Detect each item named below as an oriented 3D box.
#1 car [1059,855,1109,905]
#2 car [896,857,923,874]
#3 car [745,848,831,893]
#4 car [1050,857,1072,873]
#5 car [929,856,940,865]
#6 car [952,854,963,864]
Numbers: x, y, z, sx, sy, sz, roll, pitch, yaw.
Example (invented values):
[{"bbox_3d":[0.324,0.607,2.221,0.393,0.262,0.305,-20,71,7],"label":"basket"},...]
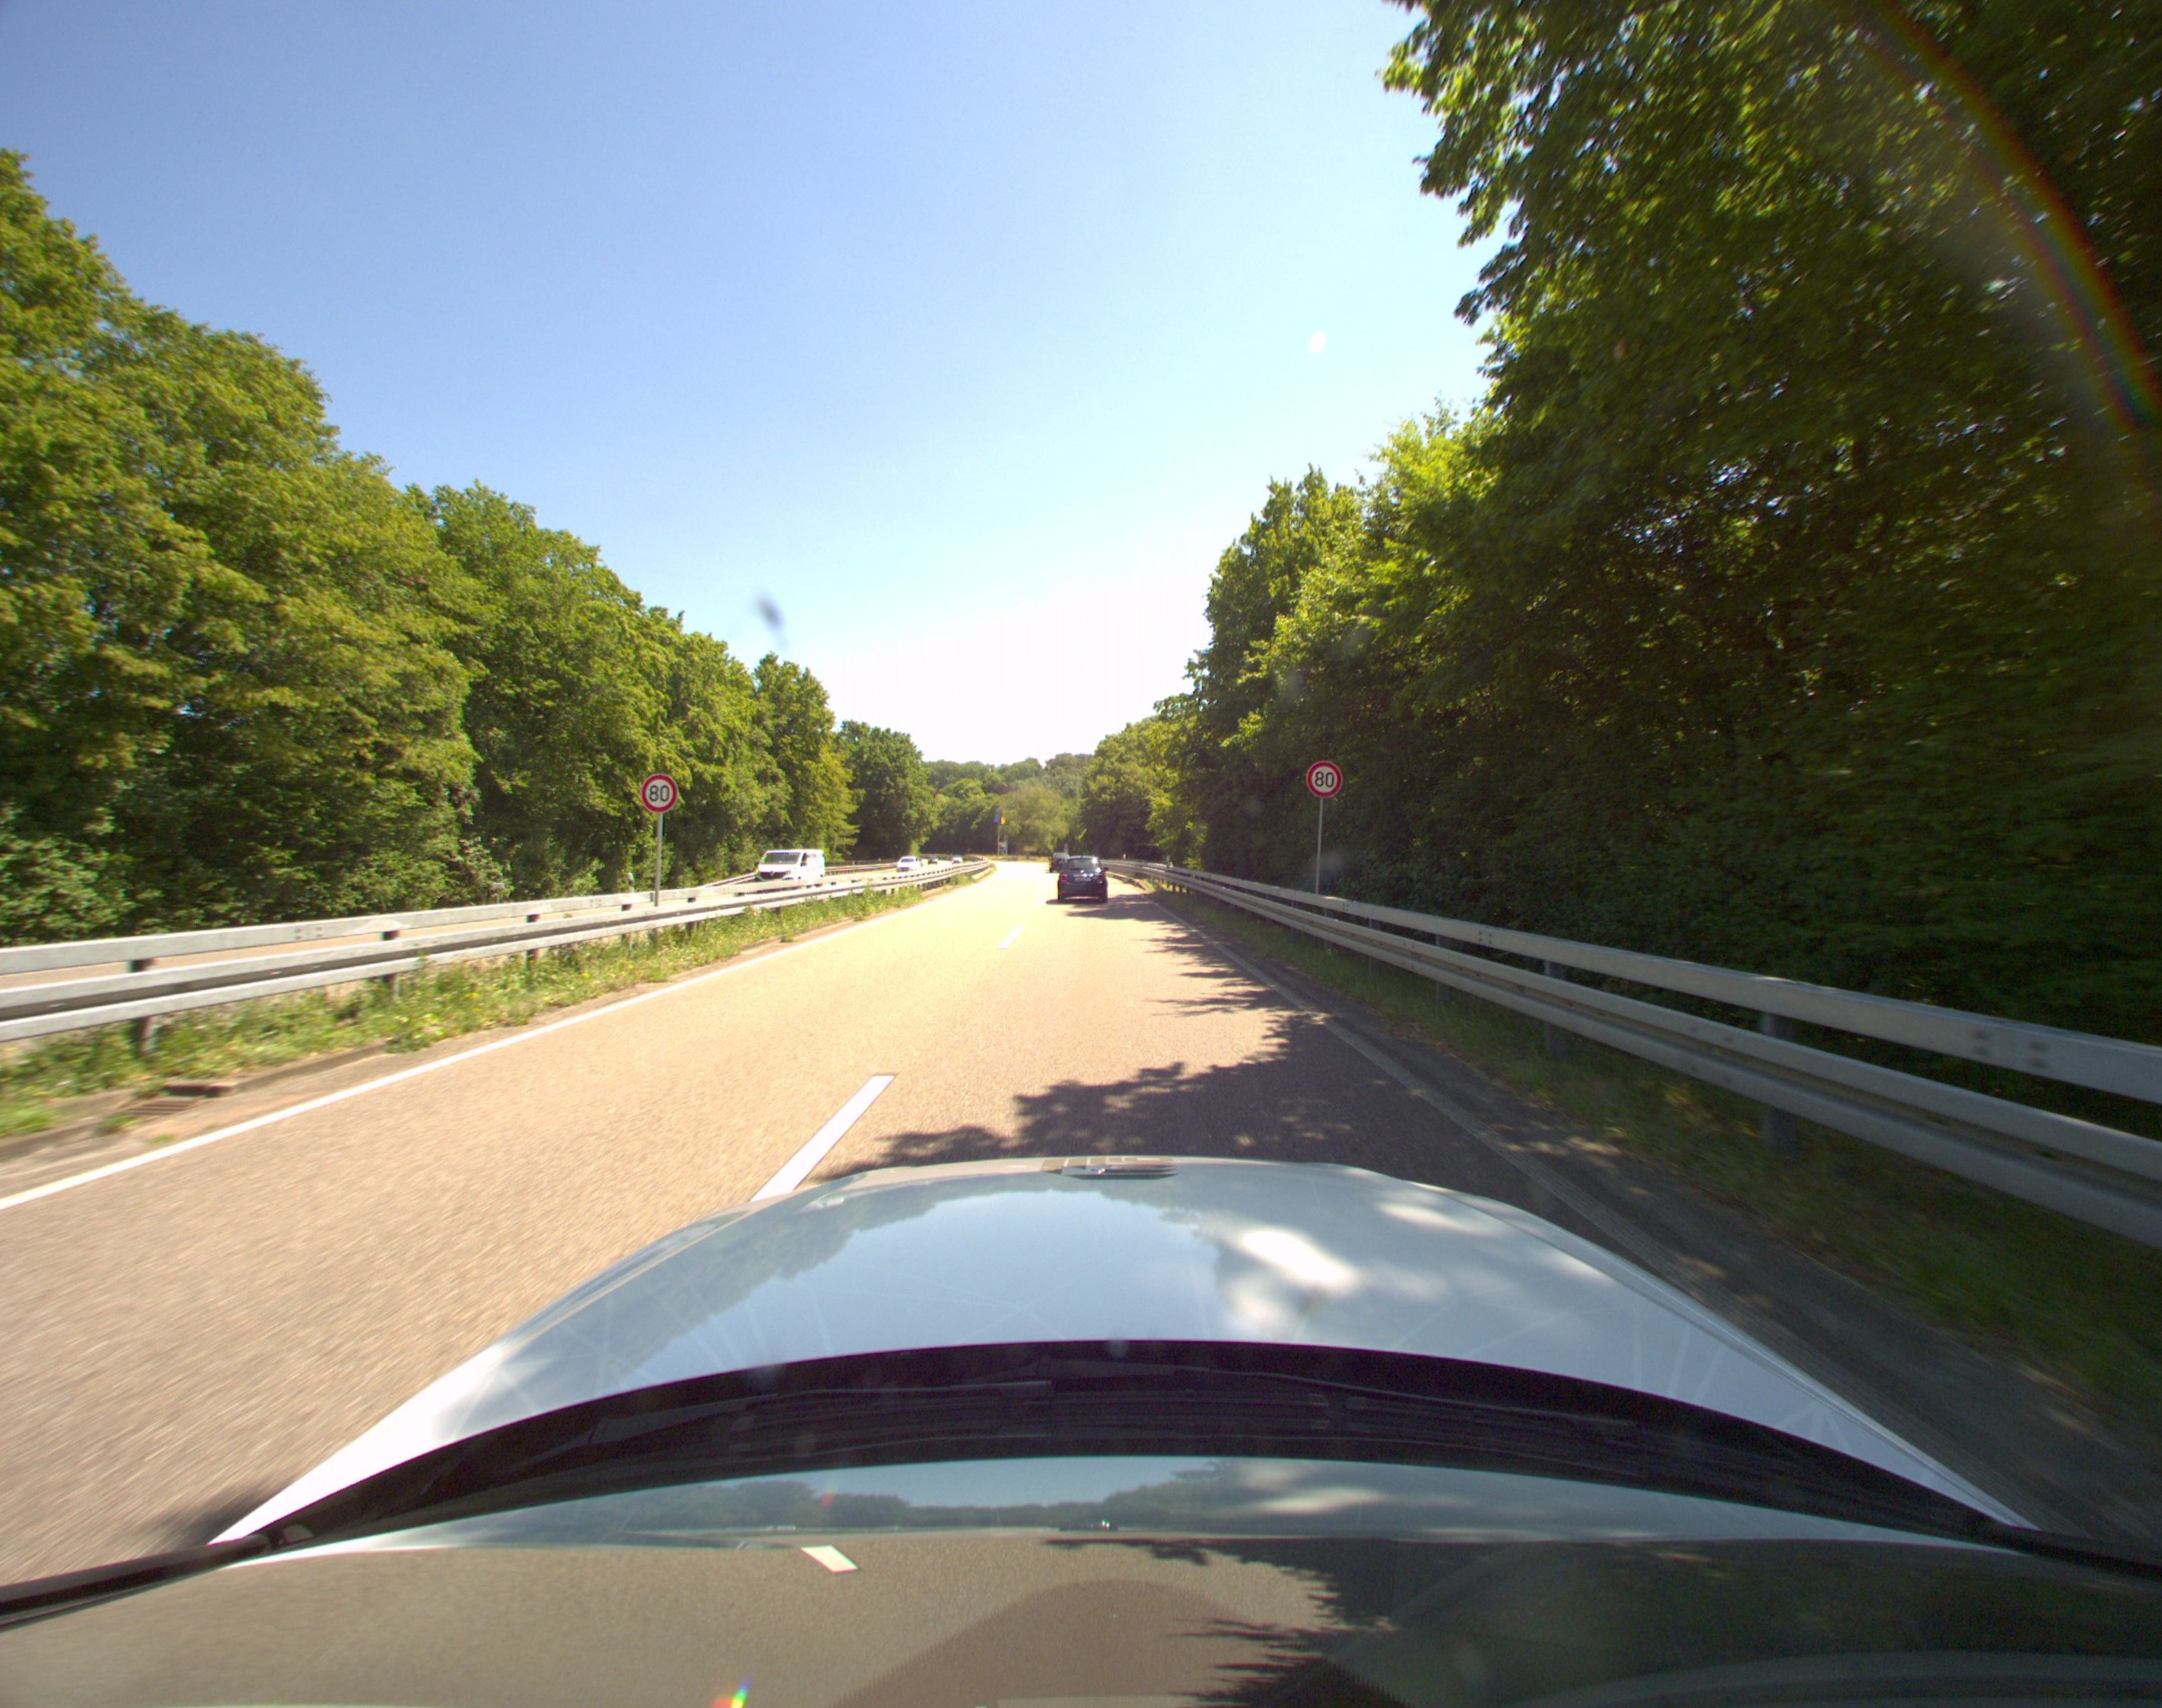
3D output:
[{"bbox_3d":[0.140,0.804,26.982,1.508,1.501,3.591,-1,0,2],"label":"car"},{"bbox_3d":[-15.302,1.032,72.905,1.647,1.447,4.217,-1,0,-2],"label":"car"},{"bbox_3d":[-13.686,0.731,38.434,1.983,1.951,5.638,-1,0,0],"label":"car"},{"bbox_3d":[-1.721,0.952,69.385,1.523,1.313,3.407,-1,0,-6],"label":"car"},{"bbox_3d":[-26.170,1.124,145.481,1.648,1.528,3.991,-1,0,-5],"label":"car"},{"bbox_3d":[-21.623,0.887,142.551,1.648,1.606,4.212,-1,0,-5],"label":"car"}]
